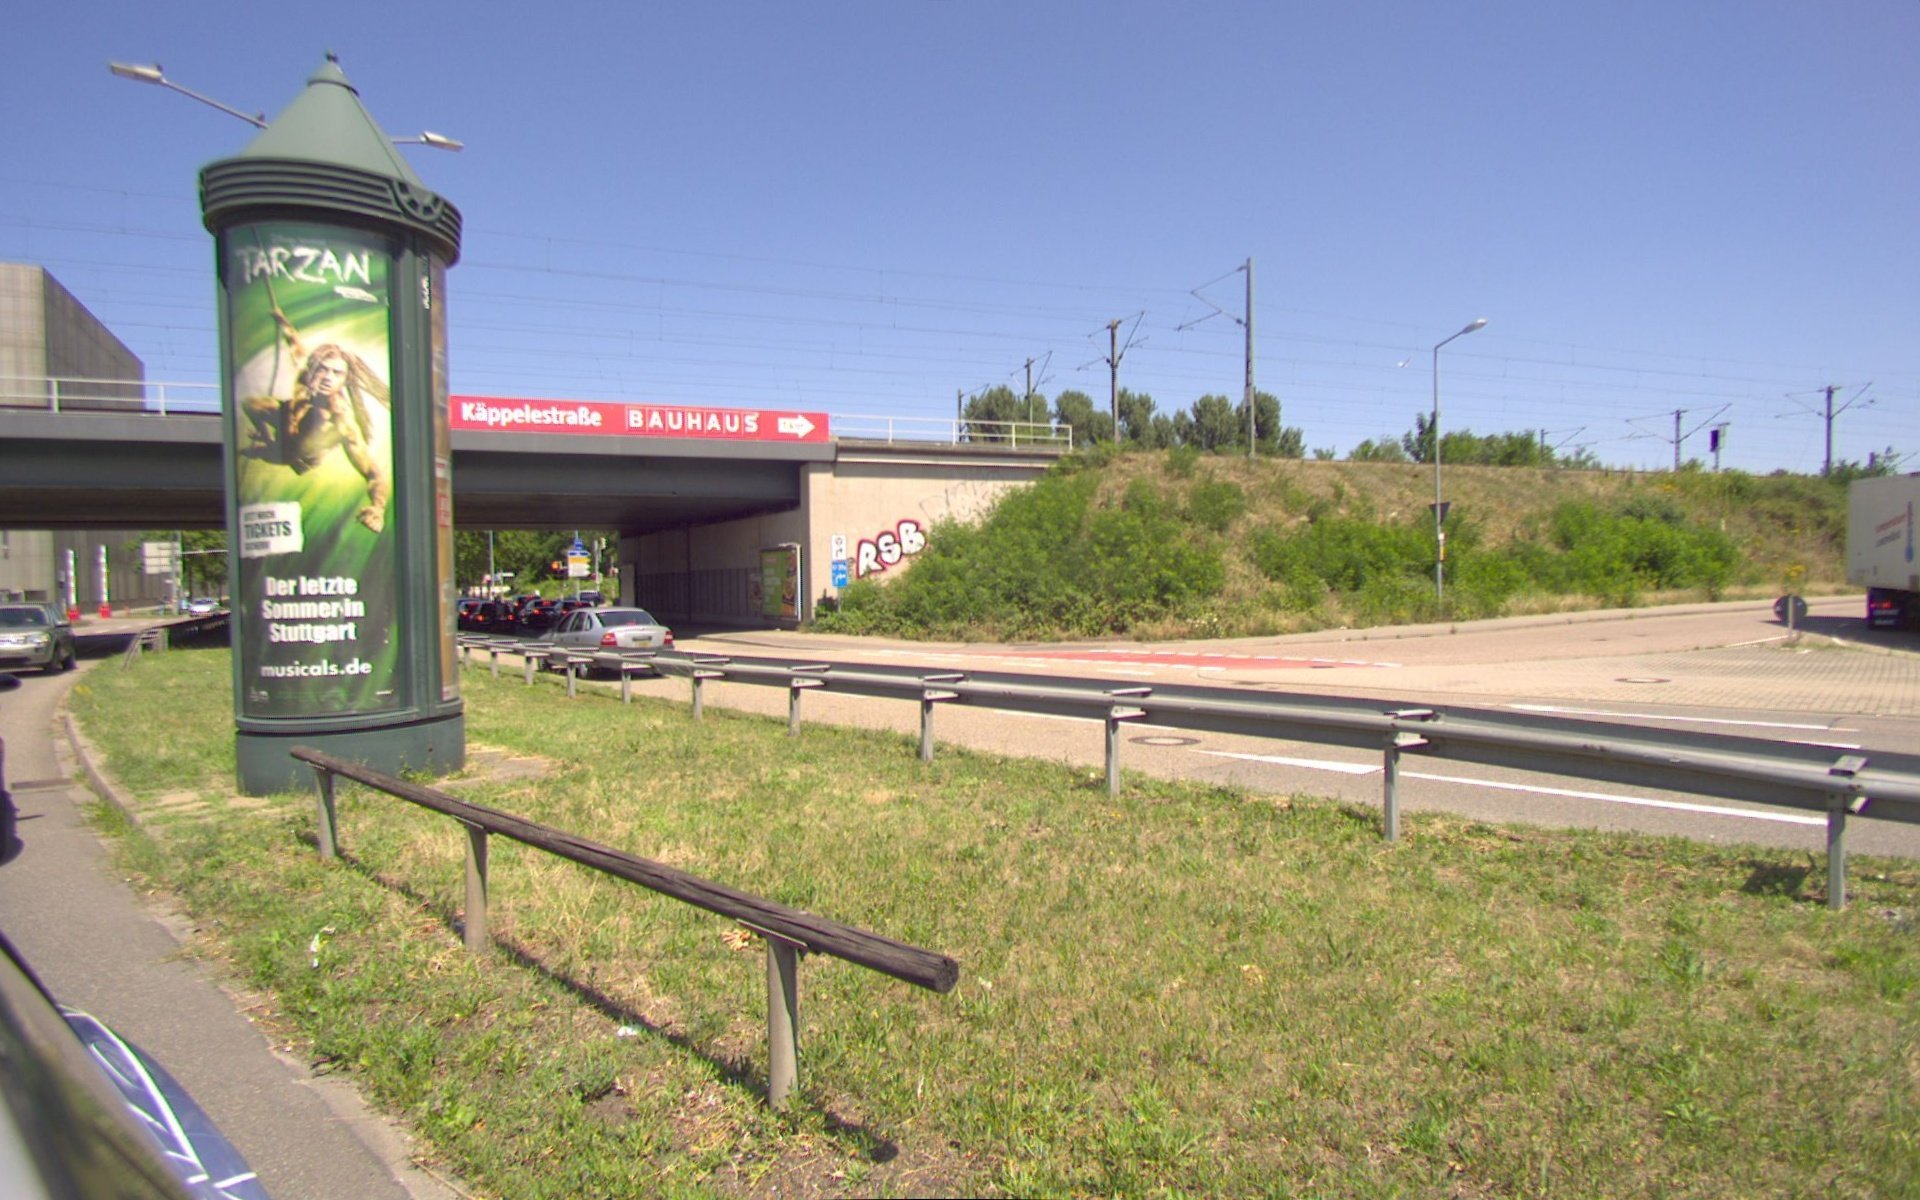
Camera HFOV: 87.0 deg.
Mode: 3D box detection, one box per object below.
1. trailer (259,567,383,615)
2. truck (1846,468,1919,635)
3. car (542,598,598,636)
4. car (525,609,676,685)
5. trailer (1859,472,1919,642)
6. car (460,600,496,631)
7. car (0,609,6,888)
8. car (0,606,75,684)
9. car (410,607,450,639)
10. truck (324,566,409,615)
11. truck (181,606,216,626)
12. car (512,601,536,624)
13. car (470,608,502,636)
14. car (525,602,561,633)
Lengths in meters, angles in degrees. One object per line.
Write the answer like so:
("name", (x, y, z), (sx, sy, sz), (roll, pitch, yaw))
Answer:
("trailer", (-49.420, -0.607, 77.960), (13.860, 3.398, 2.931), (-1, 0, 35))
("truck", (25.440, -1.222, 26.862), (2.553, 4.052, 6.179), (-1, 0, 44))
("car", (-18.256, 0.774, 47.261), (1.747, 1.680, 4.027), (-1, 0, -31))
("car", (-7.513, 0.908, 20.927), (1.613, 1.413, 4.229), (1, -1, -39))
("trailer", (23.381, -1.093, 21.025), (3.002, 4.081, 12.605), (-2, -1, 23))
("car", (-24.471, 0.771, 51.410), (1.592, 1.487, 3.444), (-1, 0, -25))
("car", (-6.929, 0.785, 6.022), (4.058, 1.428, 1.658), (-1, 0, 44))
("car", (-22.049, 1.001, 23.669), (1.817, 1.708, 3.707), (-1, 0, -38))
("car", (-23.144, 0.976, 44.256), (1.388, 1.329, 3.272), (-1, 0, -26))
("truck", (-43.399, -0.628, 73.978), (6.552, 3.443, 2.986), (-1, 0, 36))
("truck", (-61.602, 1.280, 81.946), (1.702, 1.513, 4.013), (-1, 0, -29))
("car", (-24.995, 0.686, 58.016), (1.166, 1.257, 2.701), (-1, 0, -25))
("car", (-21.452, 0.961, 45.811), (1.250, 1.194, 2.787), (-1, 0, -25))
("car", (-21.503, 0.885, 52.178), (1.548, 1.514, 3.418), (-1, 0, -25))
